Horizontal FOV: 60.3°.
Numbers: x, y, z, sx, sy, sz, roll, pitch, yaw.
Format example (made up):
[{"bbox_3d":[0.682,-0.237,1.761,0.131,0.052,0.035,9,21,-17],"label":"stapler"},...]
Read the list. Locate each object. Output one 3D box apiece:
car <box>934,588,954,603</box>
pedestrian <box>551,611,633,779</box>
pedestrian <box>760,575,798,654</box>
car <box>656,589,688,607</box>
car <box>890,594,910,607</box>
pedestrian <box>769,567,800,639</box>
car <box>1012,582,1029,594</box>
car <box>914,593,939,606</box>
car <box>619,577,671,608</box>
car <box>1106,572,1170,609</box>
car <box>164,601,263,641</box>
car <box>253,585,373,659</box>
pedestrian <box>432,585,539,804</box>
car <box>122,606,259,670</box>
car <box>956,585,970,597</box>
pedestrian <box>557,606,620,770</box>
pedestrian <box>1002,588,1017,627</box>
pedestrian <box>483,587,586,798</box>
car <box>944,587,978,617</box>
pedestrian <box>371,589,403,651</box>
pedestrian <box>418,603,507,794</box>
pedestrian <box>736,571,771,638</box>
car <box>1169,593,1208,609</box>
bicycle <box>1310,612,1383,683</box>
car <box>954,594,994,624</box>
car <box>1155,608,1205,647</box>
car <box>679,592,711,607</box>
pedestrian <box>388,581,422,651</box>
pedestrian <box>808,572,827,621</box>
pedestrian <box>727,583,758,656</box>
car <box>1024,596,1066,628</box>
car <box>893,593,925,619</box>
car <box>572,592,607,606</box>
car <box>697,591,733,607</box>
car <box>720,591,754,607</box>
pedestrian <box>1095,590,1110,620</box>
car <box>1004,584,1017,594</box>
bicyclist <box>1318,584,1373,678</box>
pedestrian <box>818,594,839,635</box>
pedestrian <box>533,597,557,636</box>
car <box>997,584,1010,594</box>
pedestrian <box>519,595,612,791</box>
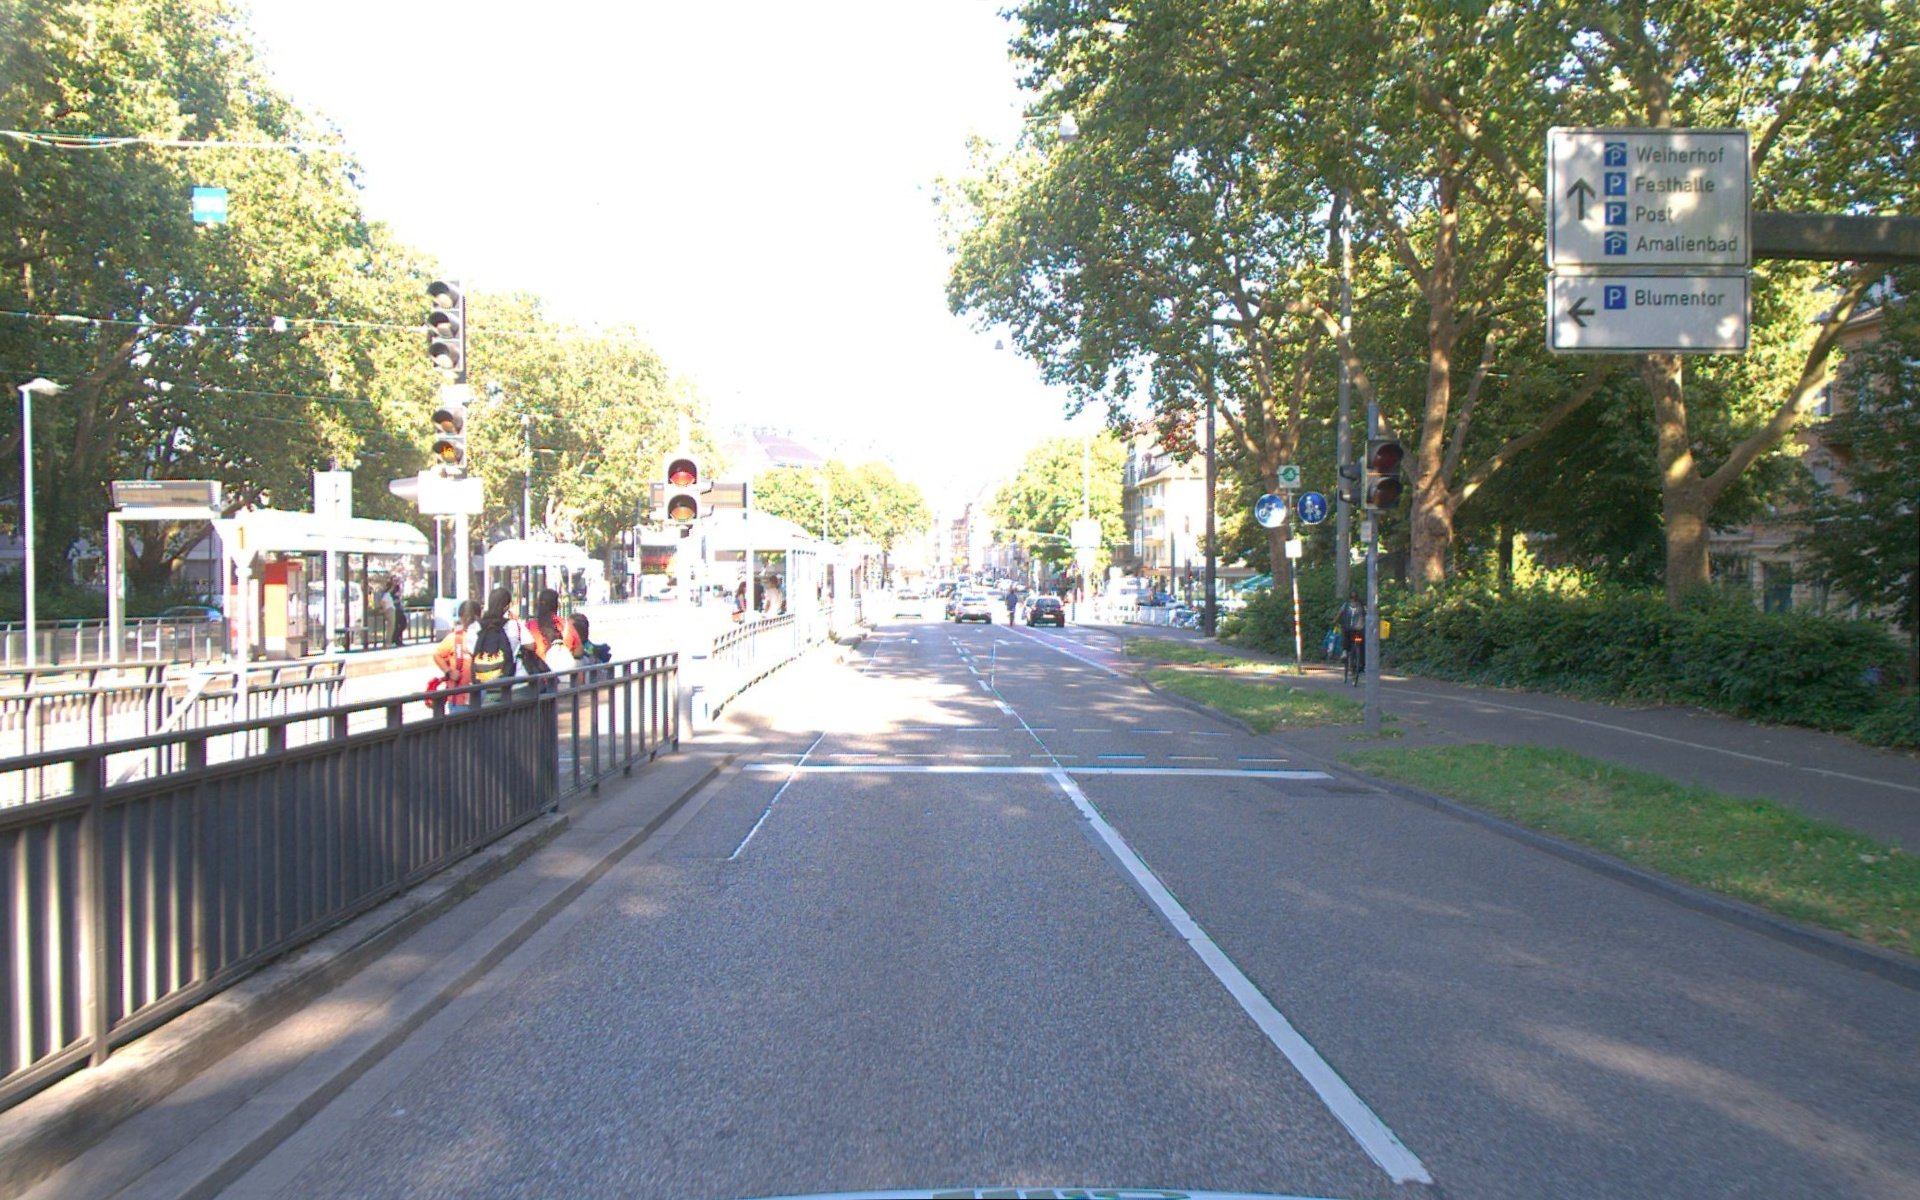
[{"bbox_3d":[-1.967,-0.594,204.641,1.756,1.858,4.003,0,0,8],"label":"car"},{"bbox_3d":[-3.276,0.827,14.697,0.581,1.431,0.556,-2,0,-22],"label":"pedestrian"},{"bbox_3d":[-3.994,0.317,36.586,0.727,1.724,0.791,1,0,-1],"label":"pedestrian"},{"bbox_3d":[-30.774,-0.221,176.608,1.756,1.990,4.002,0,0,17],"label":"car"},{"bbox_3d":[-6.836,0.066,188.978,1.756,1.537,4.002,-1,0,5],"label":"car"},{"bbox_3d":[-4.631,0.079,43.627,0.637,1.873,0.711,1,0,8],"label":"pedestrian"},{"bbox_3d":[8.816,-1.769,241.306,2.062,1.807,4.339,0,0,-2],"label":"car"},{"bbox_3d":[-3.972,-0.093,197.138,1.756,1.537,4.002,-1,0,17],"label":"car"},{"bbox_3d":[-33.790,-0.844,177.828,2.444,3.220,6.536,0,0,21],"label":"car"},{"bbox_3d":[13.837,-0.757,128.599,4.909,2.791,2.075,0,-1,4],"label":"car"},{"bbox_3d":[-45.913,1.276,101.888,2.106,2.376,5.723,0,0,21],"label":"car"},{"bbox_3d":[-20.546,0.685,52.788,2.026,2.161,5.086,-2,0,-3],"label":"car"},{"bbox_3d":[-3.574,0.702,12.460,0.510,1.595,0.507,-3,0,28],"label":"pedestrian"},{"bbox_3d":[-20.335,0.967,43.890,1.759,1.536,4.338,-2,0,-3],"label":"car"},{"bbox_3d":[0.396,-1.201,219.334,1.758,1.536,3.998,0,0,-3],"label":"car"},{"bbox_3d":[-3.136,0.735,13.977,0.407,1.343,0.359,-2,0,-2],"label":"pedestrian"},{"bbox_3d":[2.432,0.371,81.340,0.643,1.904,0.677,0,0,-2],"label":"pedestrian"},{"bbox_3d":[-3.310,0.709,12.875,0.510,1.595,0.507,-3,0,28],"label":"pedestrian"},{"bbox_3d":[0.059,0.107,94.510,1.764,1.666,4.043,0,0,-2],"label":"car"},{"bbox_3d":[-14.730,0.520,42.552,0.581,1.571,0.626,1,-1,-1],"label":"pedestrian"},{"bbox_3d":[-4.021,0.783,13.397,0.509,1.498,0.514,-2,0,-1],"label":"pedestrian"},{"bbox_3d":[-5.445,0.117,43.645,0.646,1.752,0.701,1,0,-37],"label":"pedestrian"},{"bbox_3d":[17.710,0.076,128.322,2.842,1.183,2.075,0,-1,4],"label":"car"},{"bbox_3d":[6.428,0.772,27.594,0.751,1.127,1.799,0,0,-2],"label":"bicycle"},{"bbox_3d":[0.718,0.465,87.309,1.890,1.498,4.853,0,0,-2],"label":"car"},{"bbox_3d":[11.364,1.405,85.639,1.759,1.931,4.356,1,-1,-4],"label":"car"},{"bbox_3d":[-28.210,-0.021,176.121,1.756,1.536,4.013,0,0,17],"label":"car"},{"bbox_3d":[-14.528,0.413,43.304,0.635,1.803,0.650,1,-1,1],"label":"pedestrian"},{"bbox_3d":[-5.010,-0.117,58.185,0.583,1.707,0.589,0,0,3],"label":"pedestrian"},{"bbox_3d":[-4.806,0.427,36.522,0.576,1.594,0.650,1,0,-1],"label":"pedestrian"},{"bbox_3d":[4.202,0.576,82.241,1.764,1.464,4.044,1,0,-2],"label":"car"},{"bbox_3d":[-2.987,0.351,96.211,1.772,1.478,3.998,0,0,-2],"label":"car"},{"bbox_3d":[-40.548,-0.108,181.062,1.757,1.536,4.000,0,0,22],"label":"car"},{"bbox_3d":[-25.831,-0.100,174.185,1.759,1.677,4.006,0,0,27],"label":"car"},{"bbox_3d":[-23.404,-0.118,173.560,1.881,1.677,4.182,0,0,19],"label":"car"},{"bbox_3d":[7.804,0.275,90.419,0.634,1.590,0.632,2,0,17],"label":"pedestrian"},{"bbox_3d":[7.553,-1.667,247.754,1.758,1.536,3.998,0,0,-2],"label":"car"},{"bbox_3d":[6.429,0.511,27.608,0.751,1.539,0.650,0,0,-2],"label":"bicyclist"},{"bbox_3d":[-4.366,0.485,54.872,0.665,1.332,0.593,0,0,-1],"label":"pedestrian"},{"bbox_3d":[-14.832,0.582,59.141,0.656,1.347,0.756,-3,0,-4],"label":"pedestrian"},{"bbox_3d":[6.691,-1.719,253.887,1.758,1.536,3.998,0,0,-2],"label":"car"},{"bbox_3d":[-3.211,0.743,13.488,0.578,1.546,0.514,-2,0,-1],"label":"pedestrian"}]
